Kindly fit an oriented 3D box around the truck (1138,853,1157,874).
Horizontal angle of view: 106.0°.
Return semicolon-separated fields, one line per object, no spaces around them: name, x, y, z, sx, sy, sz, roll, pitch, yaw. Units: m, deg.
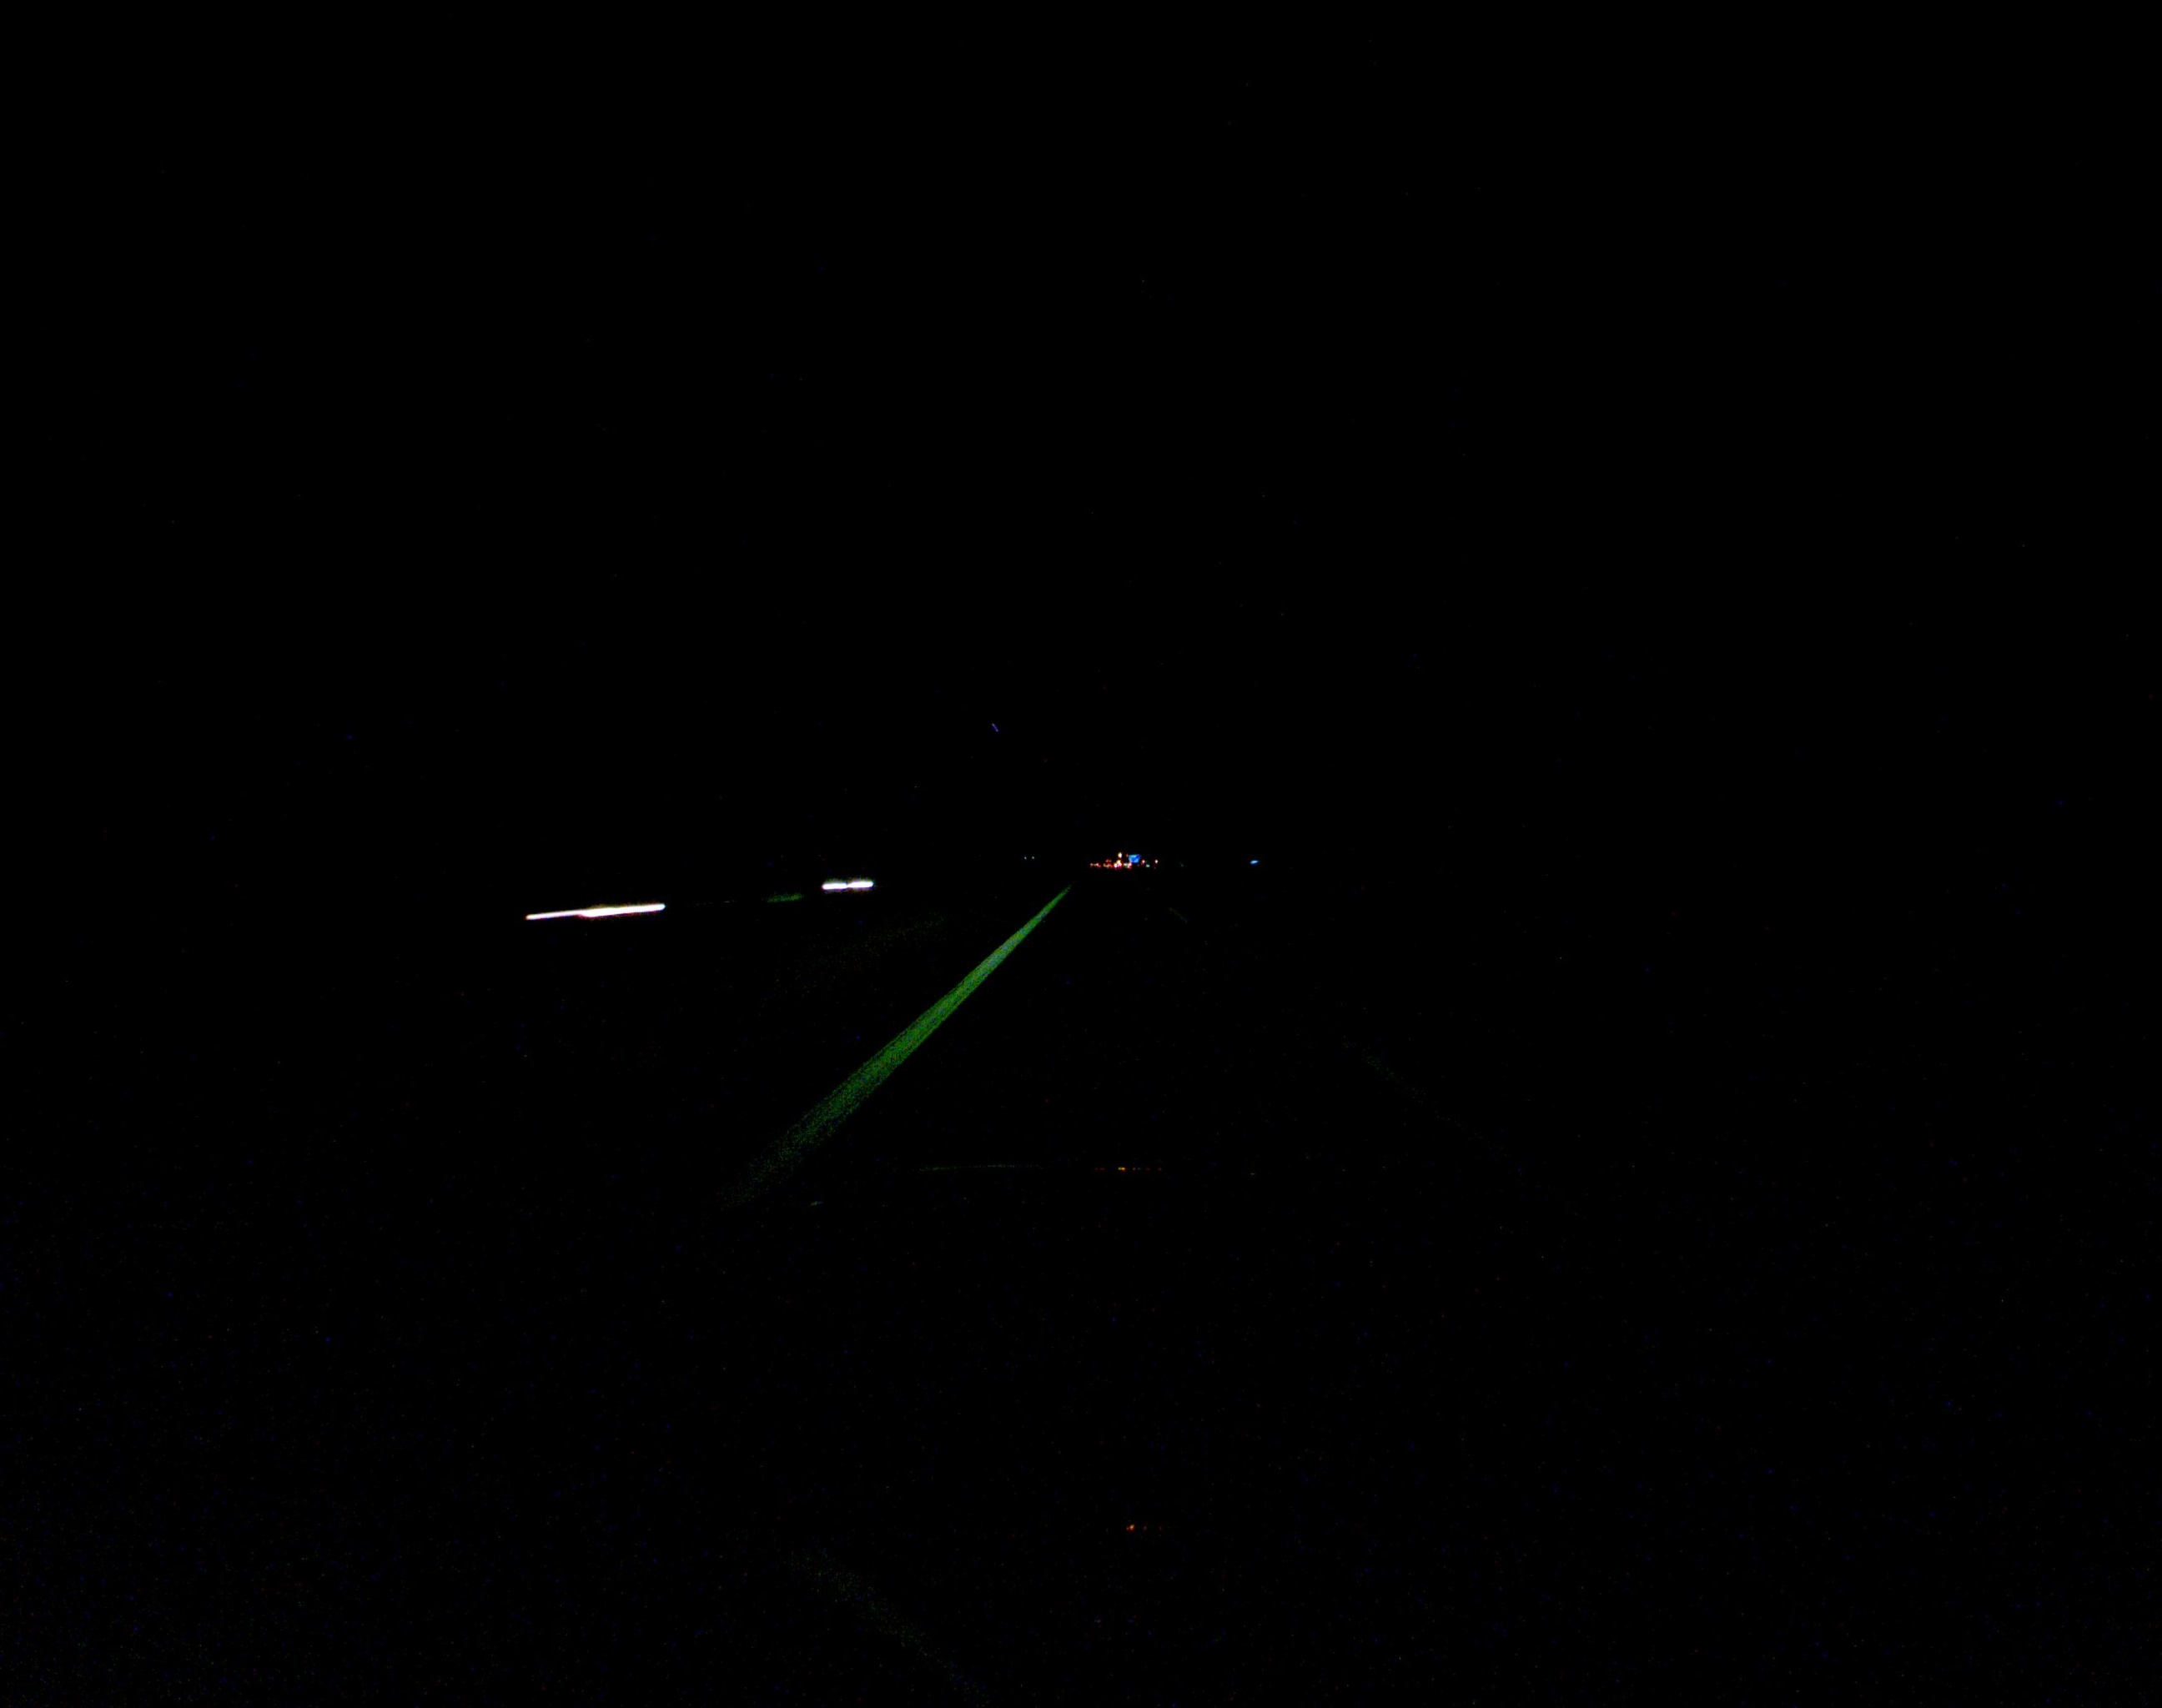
truck;9.531;1.430;116.569;2.070;2.691;7.303;0;-3;-1

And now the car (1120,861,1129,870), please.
car;6.639;1.772;124.634;1.341;1.387;3.502;0;0;1

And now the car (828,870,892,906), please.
car;-10.551;1.562;39.172;1.744;1.478;4.582;-3;0;0

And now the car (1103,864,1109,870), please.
car;6.965;3.579;227.467;1.814;1.466;4.248;0;0;1

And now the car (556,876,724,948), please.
car;-11.100;1.387;20.939;1.744;1.478;4.582;-3;0;0

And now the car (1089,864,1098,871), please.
car;2.776;3.067;179.700;1.814;1.466;4.248;0;0;1

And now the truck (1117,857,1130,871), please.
truck;10.544;2.508;202.469;3.033;3.325;10.143;0;0;1
